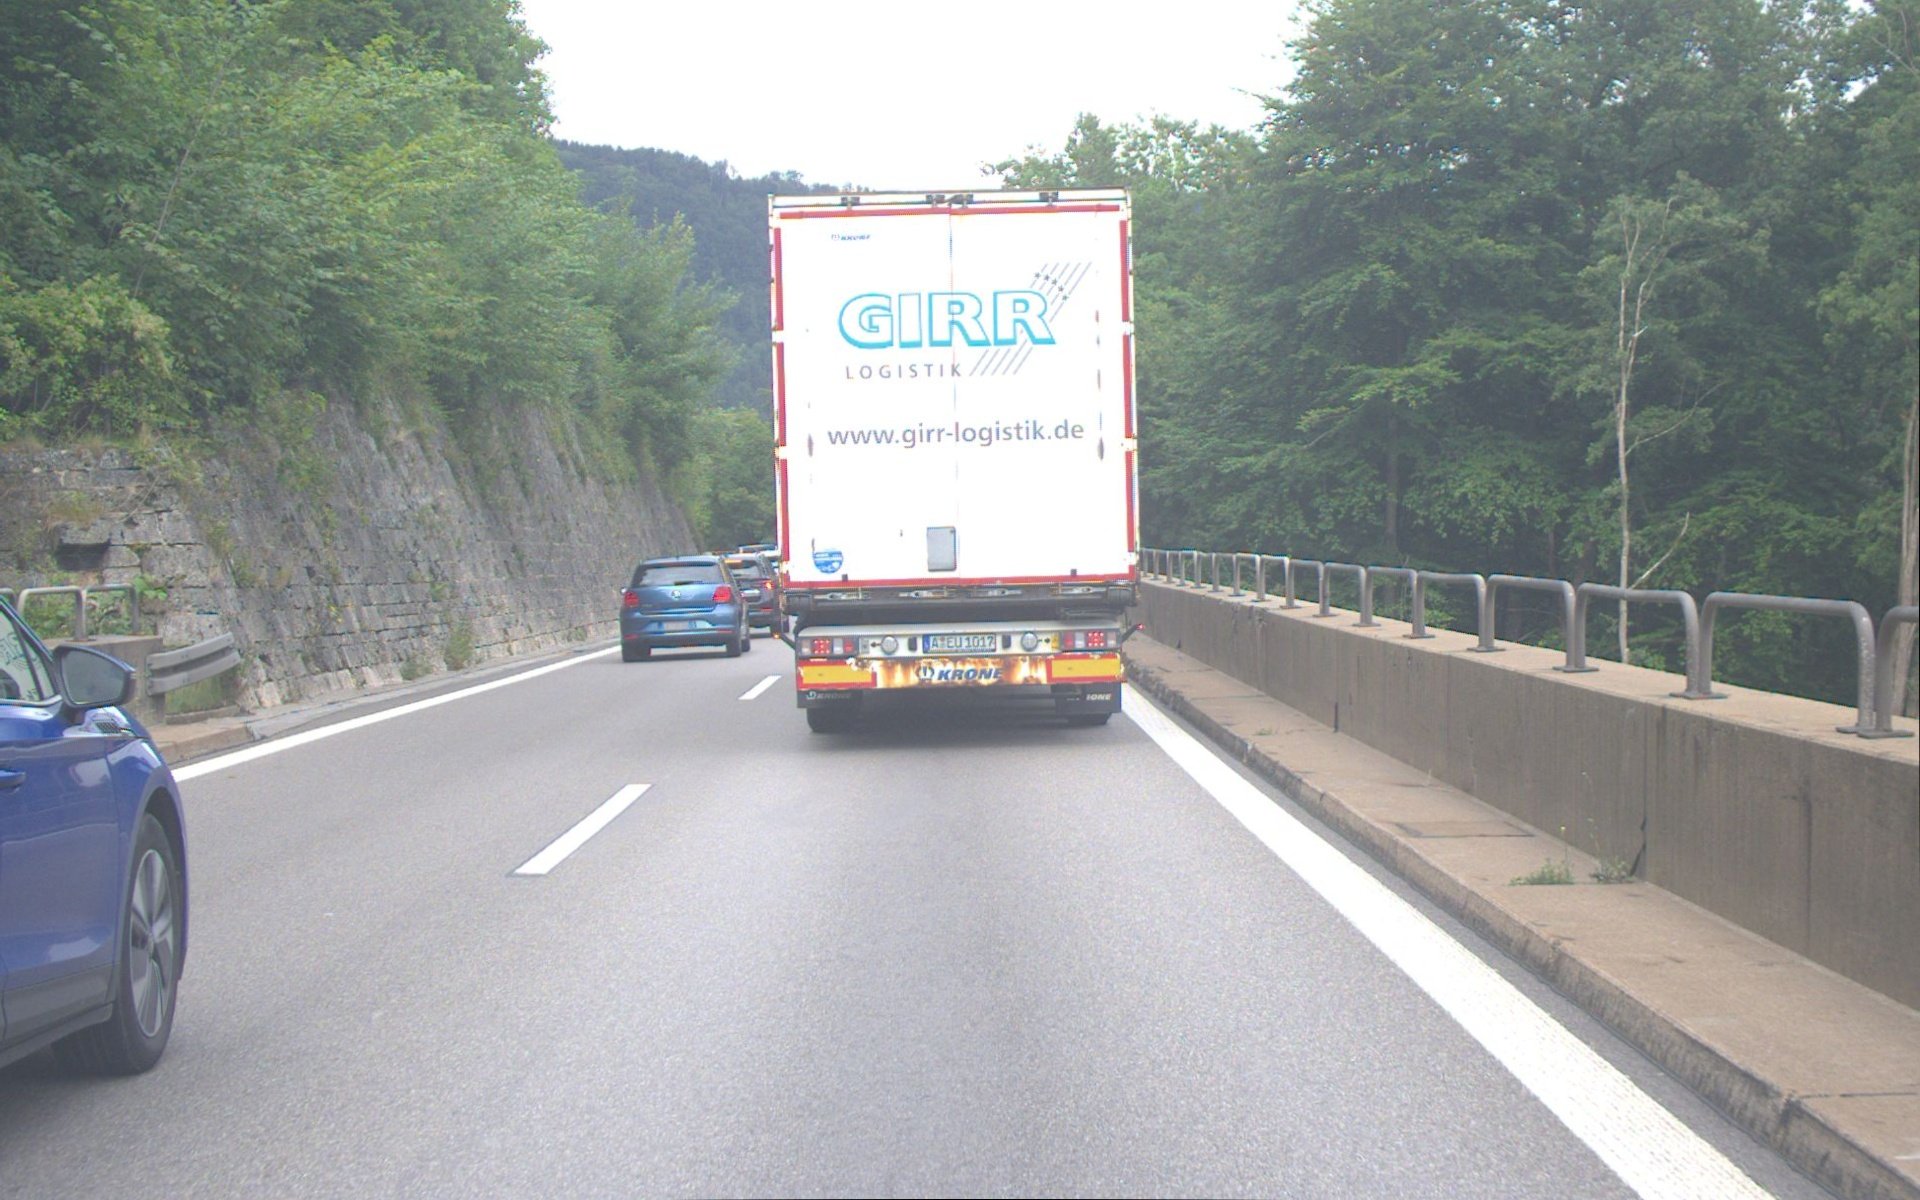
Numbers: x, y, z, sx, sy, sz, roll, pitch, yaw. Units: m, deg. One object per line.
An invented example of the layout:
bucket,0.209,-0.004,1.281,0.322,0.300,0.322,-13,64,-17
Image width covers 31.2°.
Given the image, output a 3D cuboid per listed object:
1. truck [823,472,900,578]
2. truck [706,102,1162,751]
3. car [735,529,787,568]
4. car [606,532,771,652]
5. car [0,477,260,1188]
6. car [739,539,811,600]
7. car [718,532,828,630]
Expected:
truck,-3.849,-2.854,132.328,2.634,3.844,12.361,1,1,-3
truck,-0.217,-1.358,31.429,3.084,4.448,15.156,-1,1,0
car,-8.584,-2.206,147.916,1.745,1.581,4.001,2,0,-10
car,-3.801,-0.111,48.745,1.993,1.590,4.354,1,0,0
car,-3.200,0.540,8.168,1.993,1.626,5.008,-1,1,0
car,-4.634,-0.782,86.583,1.745,1.481,4.000,1,1,-2
car,-3.214,-0.325,59.717,1.745,1.581,4.000,2,0,-1
